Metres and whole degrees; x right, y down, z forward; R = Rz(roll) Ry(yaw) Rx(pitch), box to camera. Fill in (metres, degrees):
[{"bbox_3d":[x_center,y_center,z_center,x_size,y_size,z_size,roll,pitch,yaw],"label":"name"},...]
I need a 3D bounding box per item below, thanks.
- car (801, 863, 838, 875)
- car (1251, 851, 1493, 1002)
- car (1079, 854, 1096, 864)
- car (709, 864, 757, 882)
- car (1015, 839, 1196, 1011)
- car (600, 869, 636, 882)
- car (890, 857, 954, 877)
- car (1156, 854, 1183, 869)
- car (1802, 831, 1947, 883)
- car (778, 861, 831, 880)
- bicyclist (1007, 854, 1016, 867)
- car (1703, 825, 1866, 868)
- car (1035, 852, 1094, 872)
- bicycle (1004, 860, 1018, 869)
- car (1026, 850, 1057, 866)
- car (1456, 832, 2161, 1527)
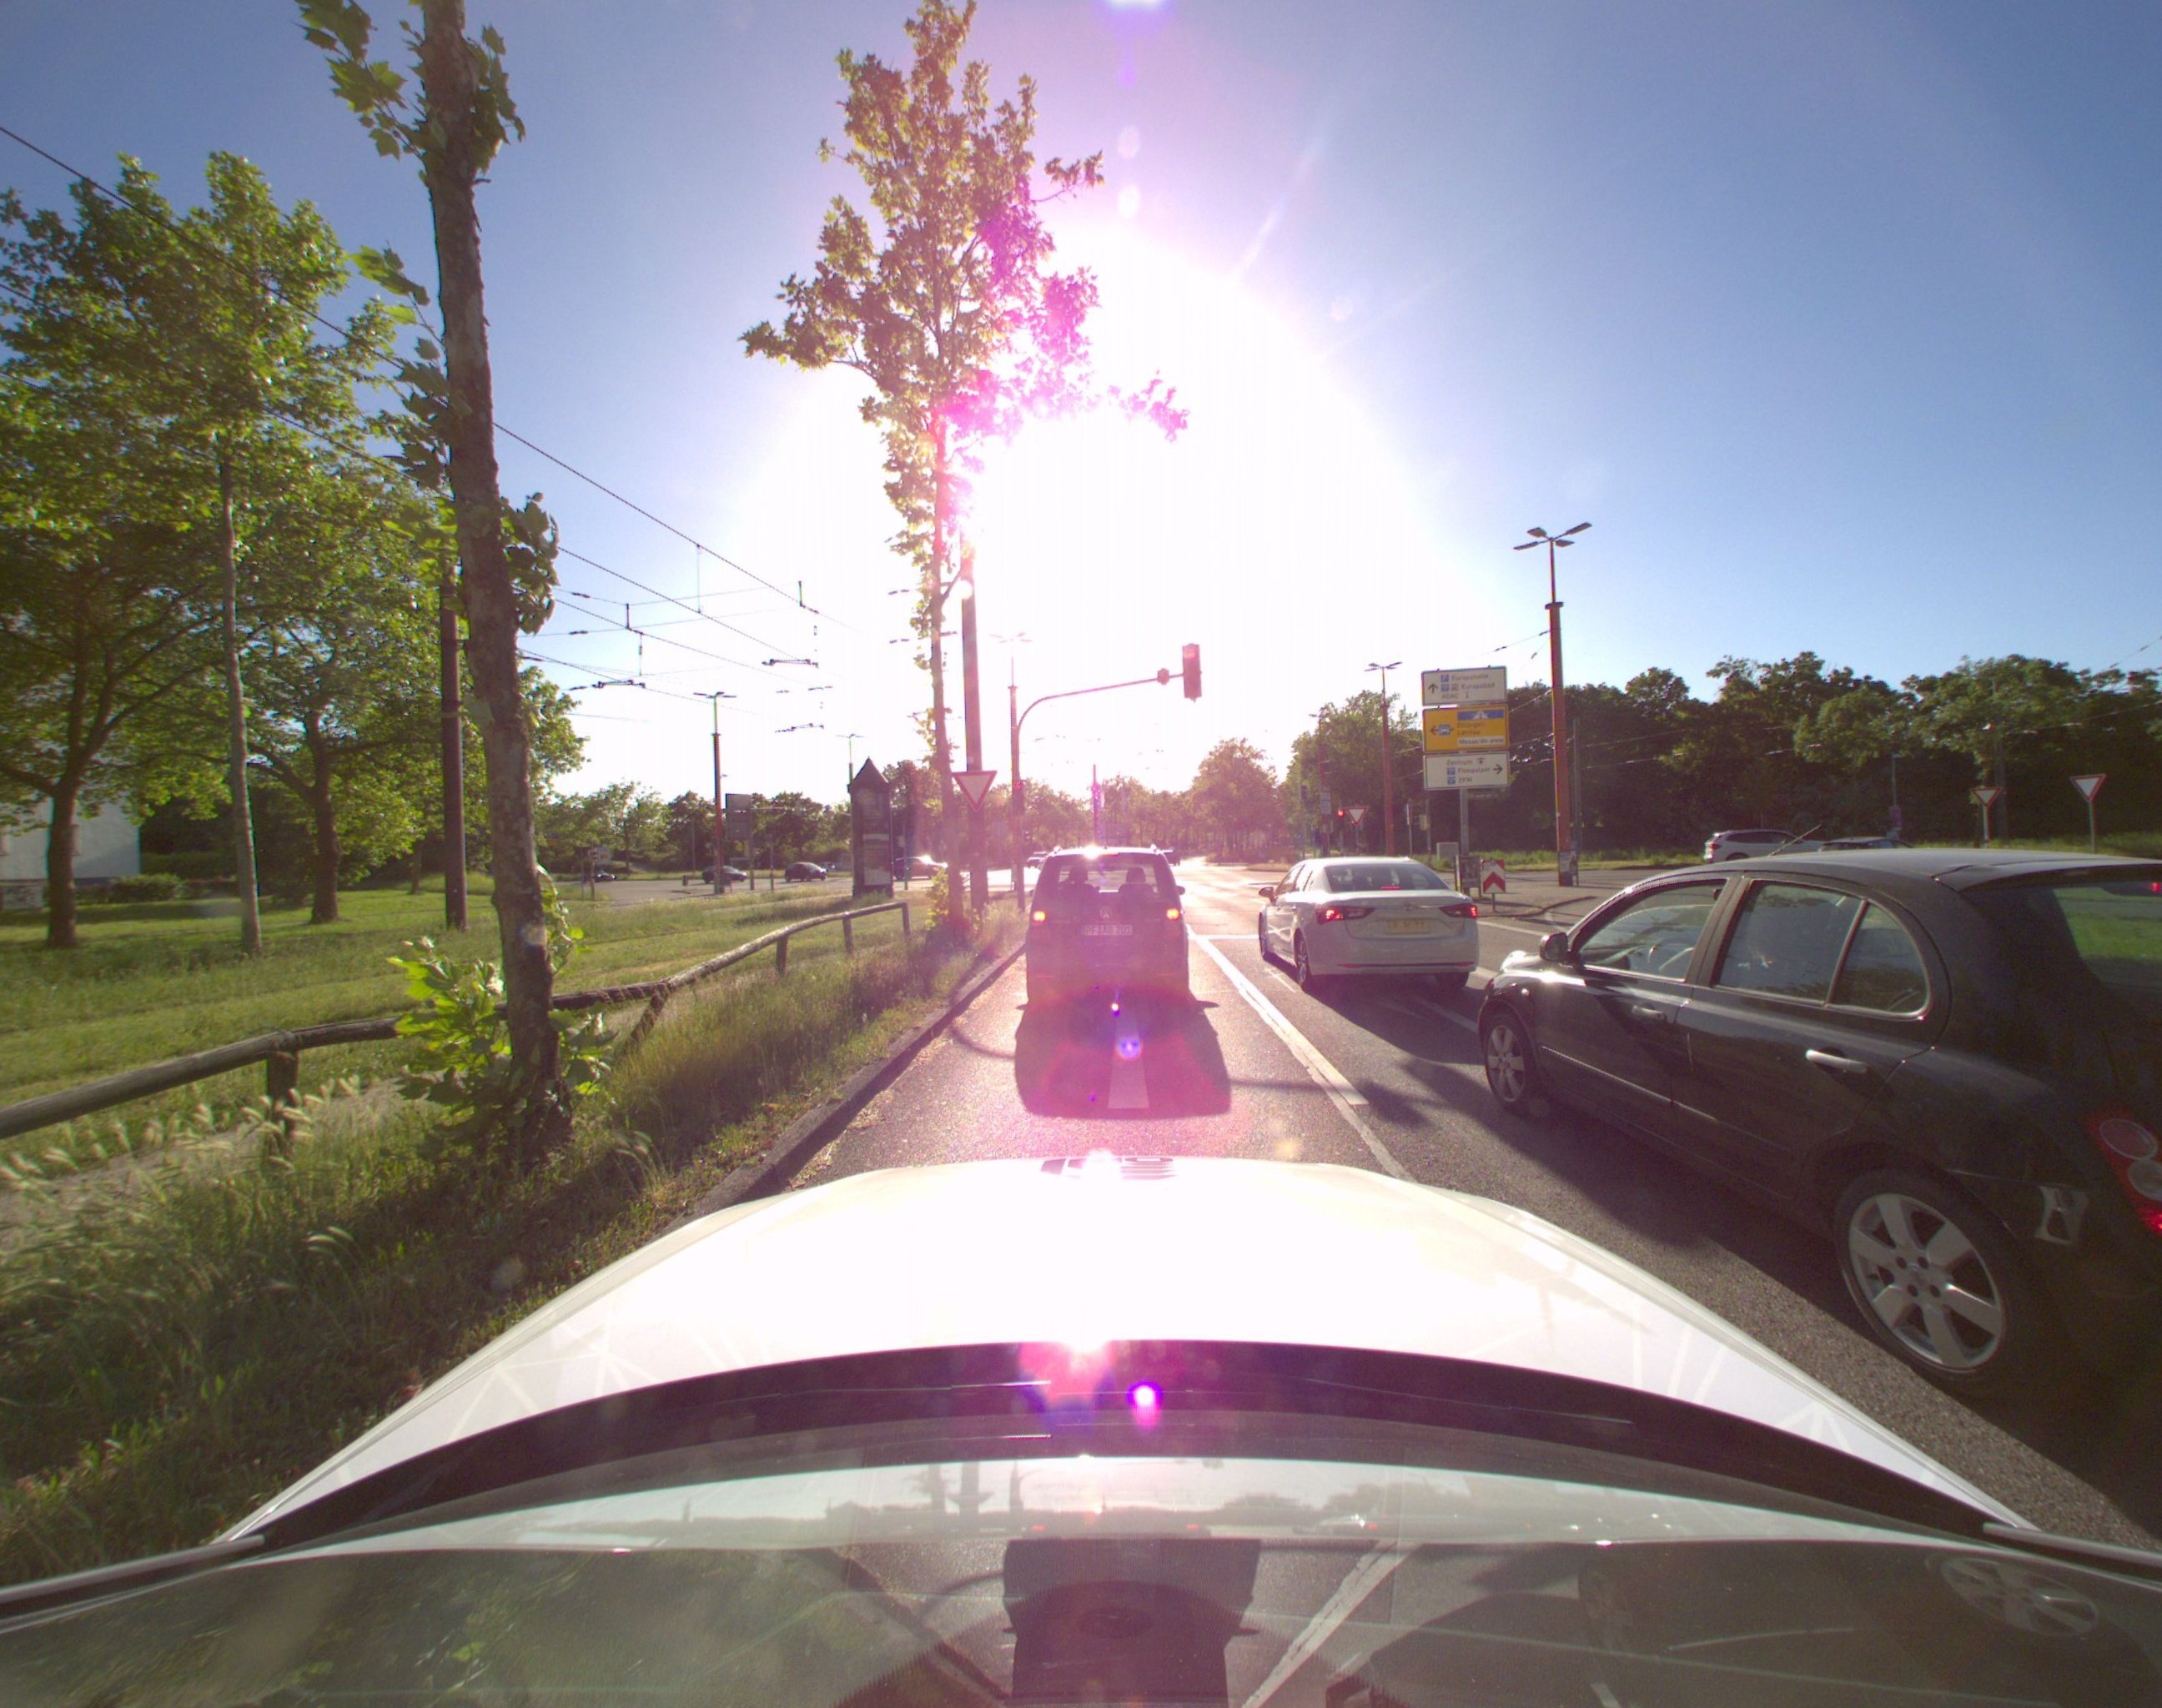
[{"bbox_3d":[-30.802,1.795,96.122,3.776,1.310,1.669,-2,0,13],"label":"car"},{"bbox_3d":[3.301,0.721,10.118,1.708,1.454,4.147,-2,0,3],"label":"car"},{"bbox_3d":[1.143,0.858,143.173,1.979,1.684,4.846,-2,0,14],"label":"car"},{"bbox_3d":[-30.840,1.670,72.153,4.185,1.464,1.926,-2,0,34],"label":"car"},{"bbox_3d":[0.299,0.698,9.990,1.731,1.641,4.002,-2,0,2],"label":"car"},{"bbox_3d":[-48.532,2.258,85.310,3.765,1.310,1.753,-2,0,34],"label":"car"},{"bbox_3d":[-12.166,0.988,62.358,4.330,1.464,1.920,-2,0,12],"label":"car"},{"bbox_3d":[9.117,0.741,83.641,1.893,1.464,4.242,-2,0,17],"label":"car"},{"bbox_3d":[24.531,0.080,25.186,3.894,1.469,1.739,-2,0,-21],"label":"car"},{"bbox_3d":[-22.716,1.372,66.857,4.004,1.464,1.926,-2,0,31],"label":"car"},{"bbox_3d":[-8.108,0.760,95.015,0.686,1.457,0.879,-2,-1,20],"label":"bicyclist"},{"bbox_3d":[28.512,-0.277,33.239,4.734,1.598,1.926,-2,0,31],"label":"car"},{"bbox_3d":[-1.312,0.632,63.816,4.219,1.464,1.903,-2,0,-17],"label":"car"},{"bbox_3d":[-8.138,1.227,94.795,0.728,1.090,1.971,-2,0,21],"label":"bicycle"},{"bbox_3d":[-4.515,0.423,93.825,1.978,1.684,4.851,-2,0,18],"label":"car"},{"bbox_3d":[3.171,0.696,3.514,1.550,1.506,3.517,-2,0,2],"label":"car"}]
